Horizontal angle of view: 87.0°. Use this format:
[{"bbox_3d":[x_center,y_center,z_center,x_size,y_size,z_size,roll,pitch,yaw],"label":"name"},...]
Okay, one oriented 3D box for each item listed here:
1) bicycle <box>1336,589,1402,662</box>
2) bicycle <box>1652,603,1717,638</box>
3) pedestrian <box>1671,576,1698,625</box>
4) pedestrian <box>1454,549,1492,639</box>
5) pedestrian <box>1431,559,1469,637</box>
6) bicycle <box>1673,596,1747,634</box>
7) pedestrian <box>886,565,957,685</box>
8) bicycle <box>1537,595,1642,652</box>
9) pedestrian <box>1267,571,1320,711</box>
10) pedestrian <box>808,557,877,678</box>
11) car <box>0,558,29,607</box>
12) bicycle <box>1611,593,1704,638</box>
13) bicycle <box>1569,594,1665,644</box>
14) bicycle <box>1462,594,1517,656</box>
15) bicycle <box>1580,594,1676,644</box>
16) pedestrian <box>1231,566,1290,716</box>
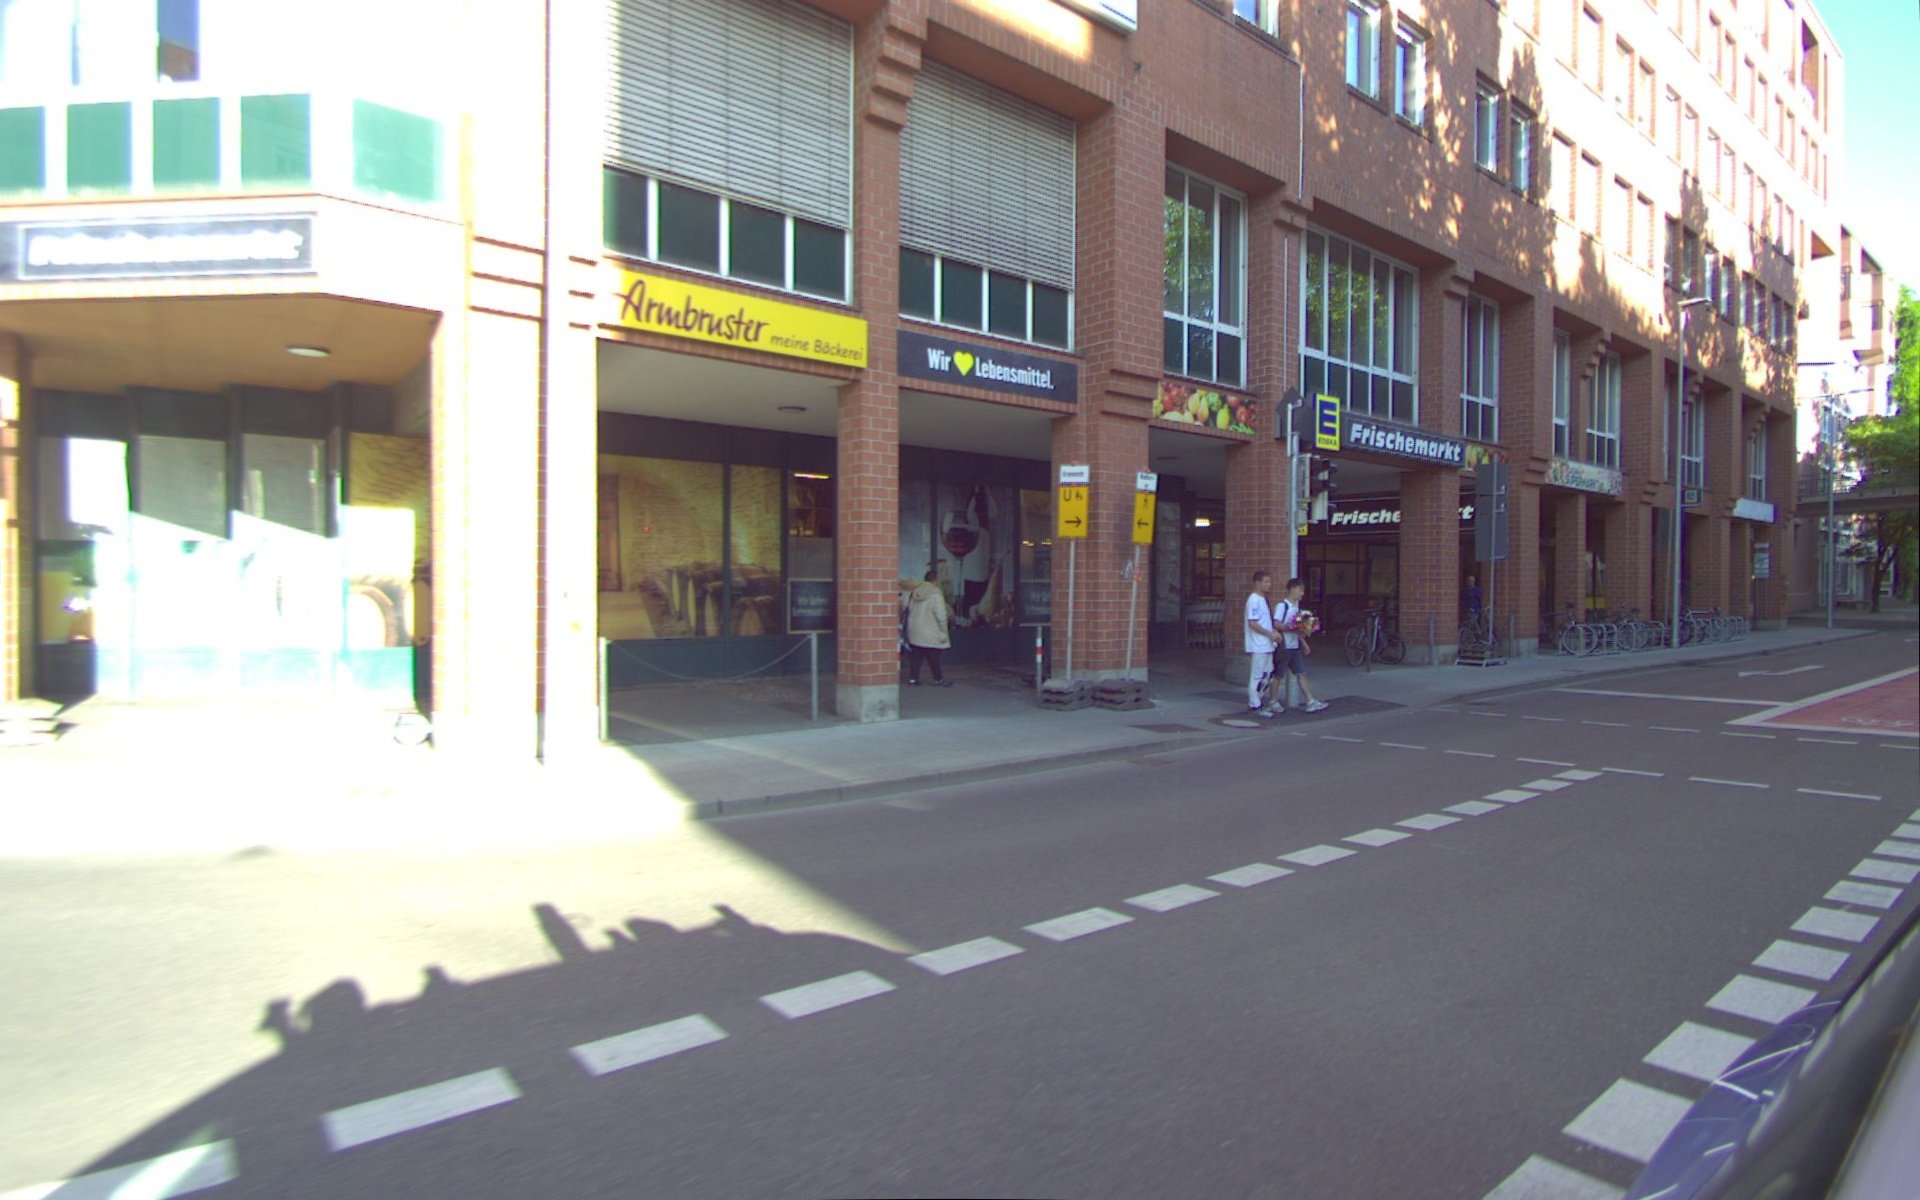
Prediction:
[{"bbox_3d":[7.533,0.444,18.623,1.679,1.271,0.340,-1,1,-38],"label":"bicycle"},{"bbox_3d":[19.710,0.544,27.552,0.417,0.851,1.338,-1,3,-37],"label":"bicycle"},{"bbox_3d":[25.071,0.014,35.033,0.764,1.654,0.570,-1,0,-40],"label":"pedestrian"},{"bbox_3d":[11.754,-0.142,23.190,0.650,2.039,0.607,-1,1,-45],"label":"pedestrian"},{"bbox_3d":[11.642,-0.052,24.050,0.599,1.818,0.659,-1,1,-43],"label":"pedestrian"},{"bbox_3d":[21.638,0.427,29.225,0.545,0.966,1.616,-1,3,-37],"label":"bicycle"},{"bbox_3d":[-0.521,0.329,14.001,0.833,1.609,0.752,0,0,11],"label":"pedestrian"},{"bbox_3d":[13.593,0.485,21.906,0.466,1.133,1.896,-1,2,-39],"label":"bicycle"},{"bbox_3d":[4.272,0.506,12.993,0.621,1.746,0.632,0,0,17],"label":"pedestrian"},{"bbox_3d":[-1.693,0.231,14.547,0.783,1.683,0.601,-1,1,-39],"label":"pedestrian"},{"bbox_3d":[-45.059,-0.831,47.380,1.780,2.208,3.926,-2,3,-38],"label":"car"},{"bbox_3d":[18.608,0.403,27.029,0.562,1.069,1.939,-1,3,-35],"label":"bicycle"},{"bbox_3d":[15.908,0.444,24.547,0.466,1.133,1.896,-1,2,-39],"label":"bicycle"},{"bbox_3d":[10.697,0.480,20.437,1.648,1.198,0.340,-1,1,-38],"label":"bicycle"},{"bbox_3d":[16.510,0.449,25.048,0.540,1.133,1.896,-1,2,-39],"label":"bicycle"},{"bbox_3d":[3.723,0.489,12.550,0.531,1.815,0.477,-1,0,-39],"label":"pedestrian"}]
